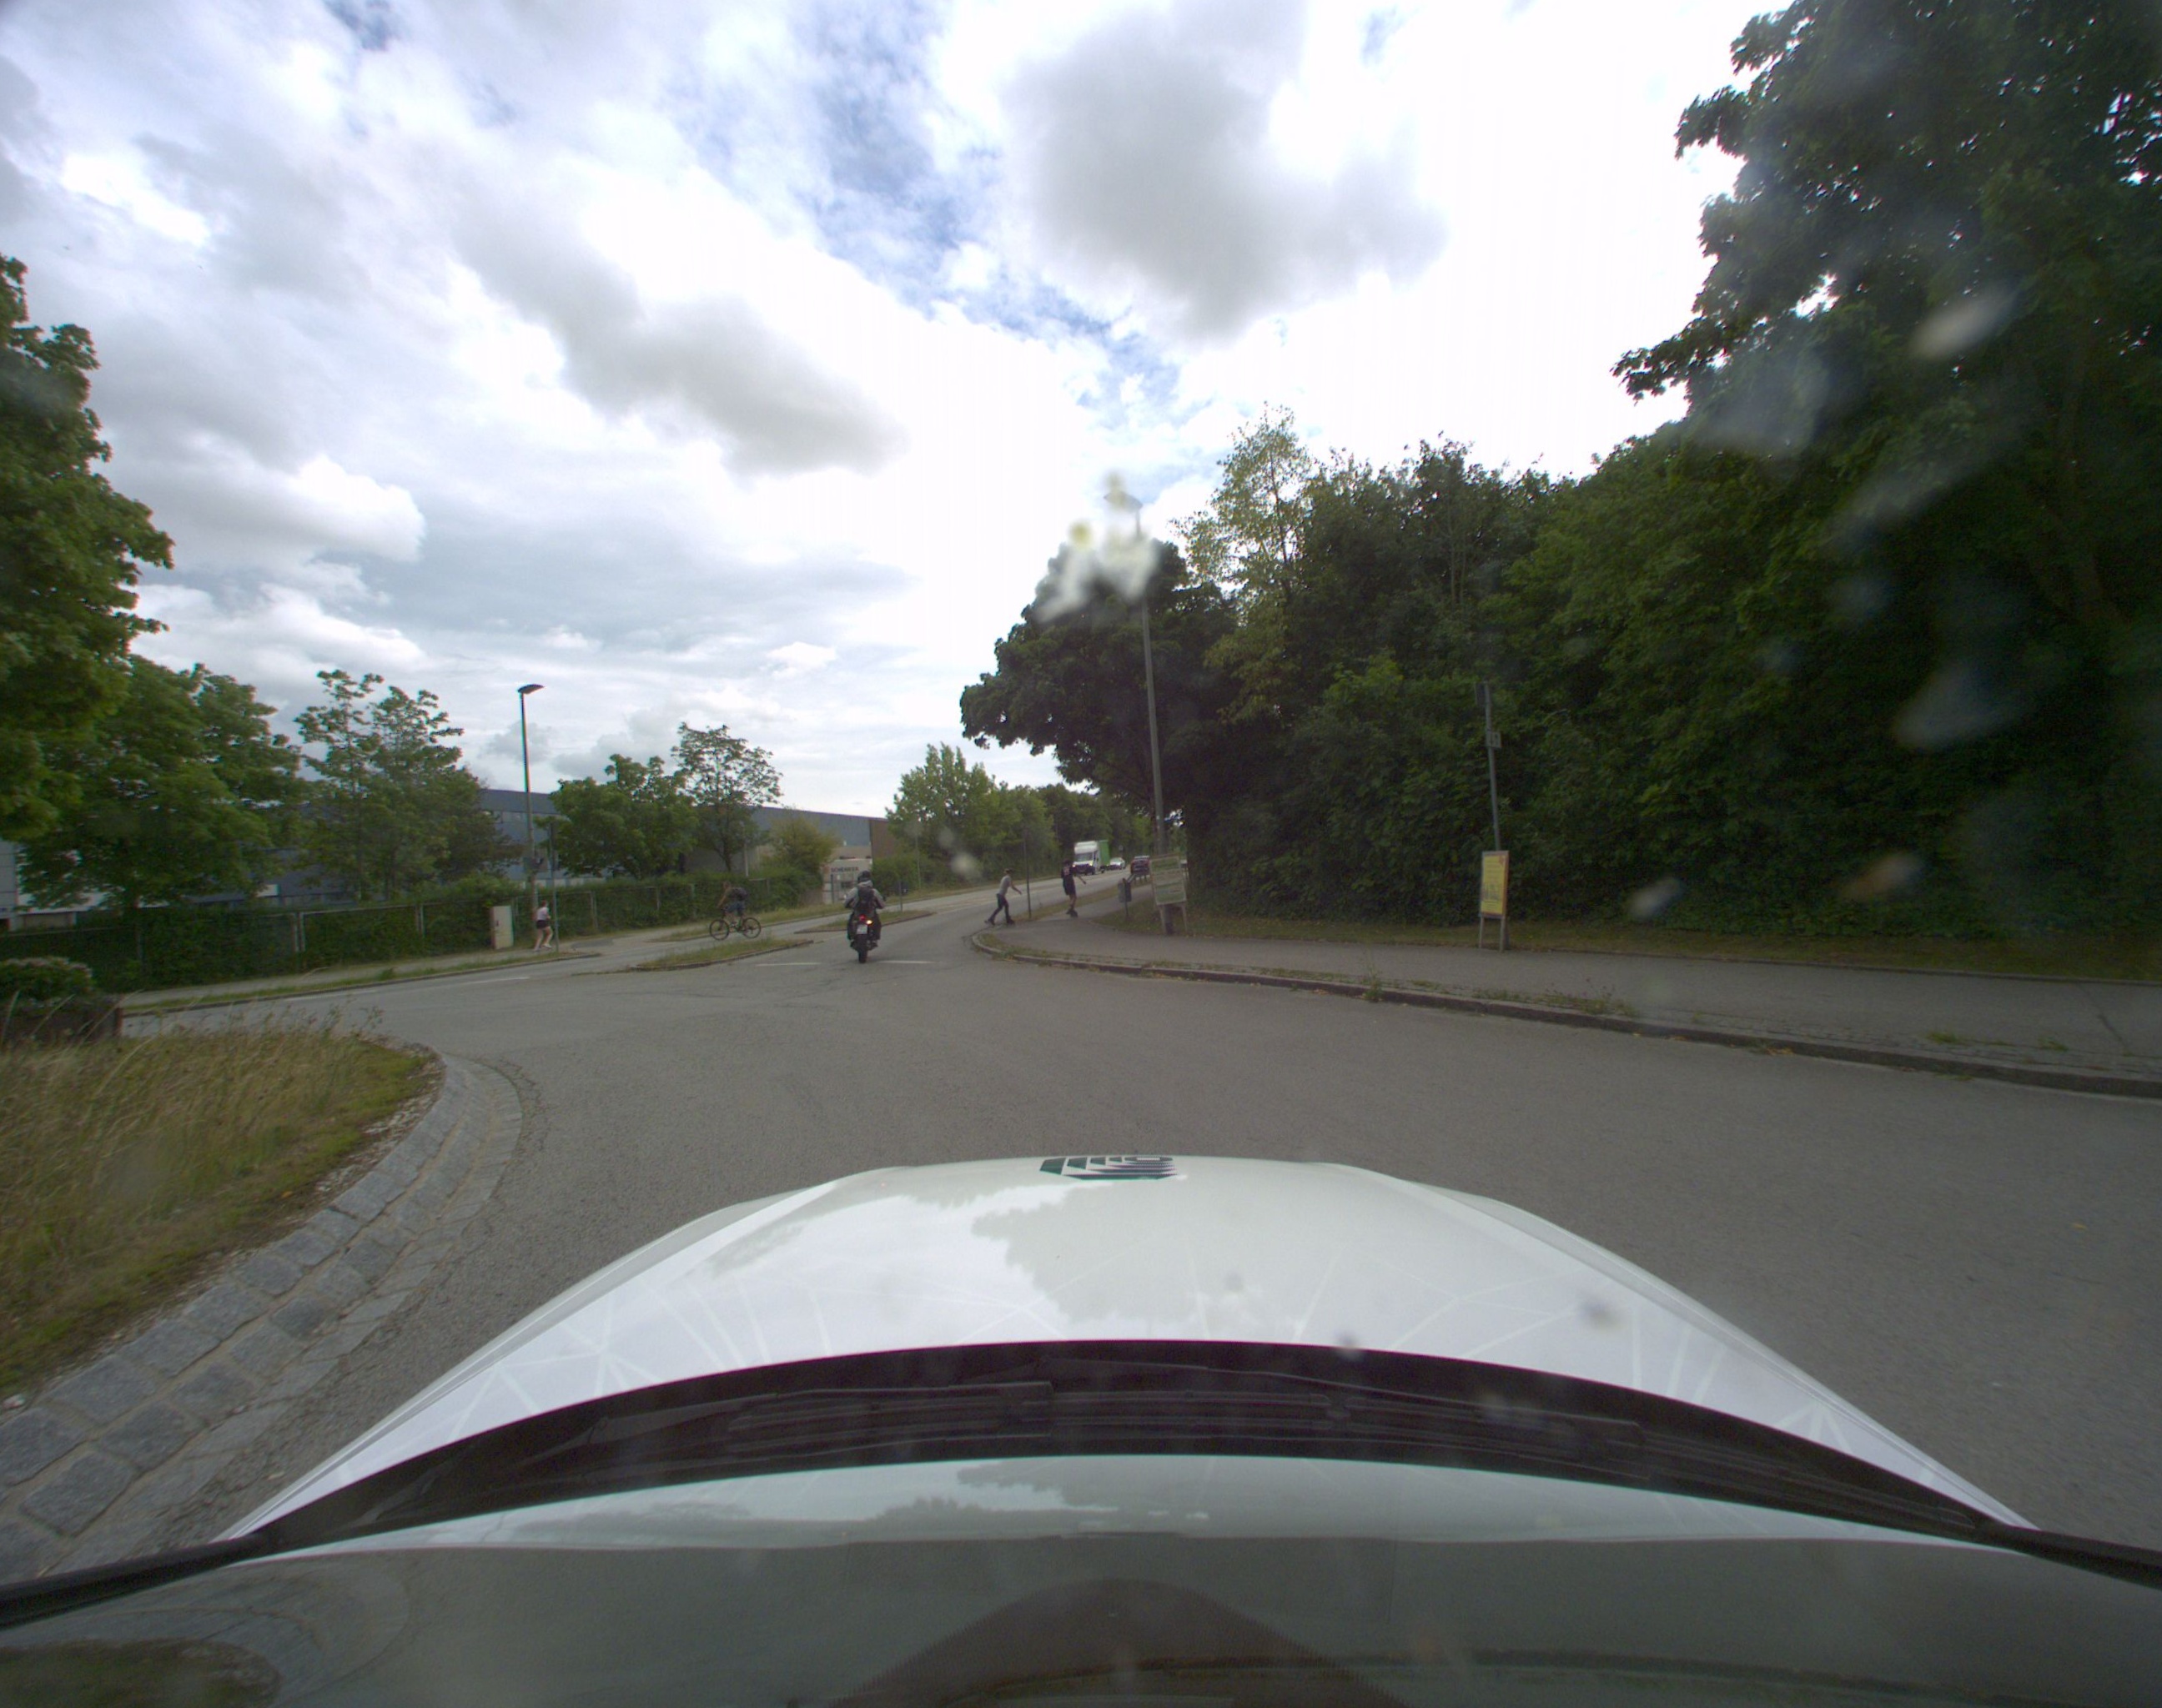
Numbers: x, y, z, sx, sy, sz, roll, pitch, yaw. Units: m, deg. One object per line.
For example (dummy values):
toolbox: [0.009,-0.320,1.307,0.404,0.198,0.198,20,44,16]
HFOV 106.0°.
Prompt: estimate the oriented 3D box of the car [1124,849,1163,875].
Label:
car: [5.456,0.651,70.317,2.497,1.947,5.730,-5,0,12]

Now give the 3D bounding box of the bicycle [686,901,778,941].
bicycle: [-10.683,2.045,24.971,2.487,1.089,0.772,-2,0,4]

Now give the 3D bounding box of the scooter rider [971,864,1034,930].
scooter rider: [-2.202,1.196,22.806,1.251,1.672,1.087,-6,1,-39]

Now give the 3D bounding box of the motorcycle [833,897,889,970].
motorcycle: [-4.303,1.501,16.096,0.898,1.158,2.608,-4,0,-13]

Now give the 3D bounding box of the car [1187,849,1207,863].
car: [18.318,0.307,128.187,2.495,1.947,5.733,-5,0,14]

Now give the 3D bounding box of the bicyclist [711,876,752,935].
bicyclist: [-10.713,1.566,24.983,0.911,1.722,0.660,-2,0,5]

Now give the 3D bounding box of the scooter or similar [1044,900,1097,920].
scooter or similar: [-0.310,1.672,24.344,1.211,0.380,1.134,-6,0,20]

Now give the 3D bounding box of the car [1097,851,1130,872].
car: [3.882,0.833,96.436,2.661,2.173,6.020,-5,0,13]

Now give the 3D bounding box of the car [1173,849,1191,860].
car: [19.071,0.079,153.667,2.495,1.947,5.733,-5,0,14]

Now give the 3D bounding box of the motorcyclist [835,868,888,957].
motorcyclist: [-4.318,1.113,16.083,0.862,1.623,1.185,-4,0,-14]

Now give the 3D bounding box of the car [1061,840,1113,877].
car: [0.725,0.337,79.516,3.148,3.204,7.662,-5,0,14]

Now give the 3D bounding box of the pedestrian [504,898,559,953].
pedestrian: [-16.800,2.174,24.930,0.779,1.544,1.049,-4,0,14]

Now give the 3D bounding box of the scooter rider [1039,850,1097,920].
scooter rider: [-0.387,0.912,24.341,1.211,1.909,1.134,-6,-1,20]

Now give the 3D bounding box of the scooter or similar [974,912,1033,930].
scooter or similar: [-2.171,1.859,22.799,1.234,0.364,1.087,-4,0,-40]
